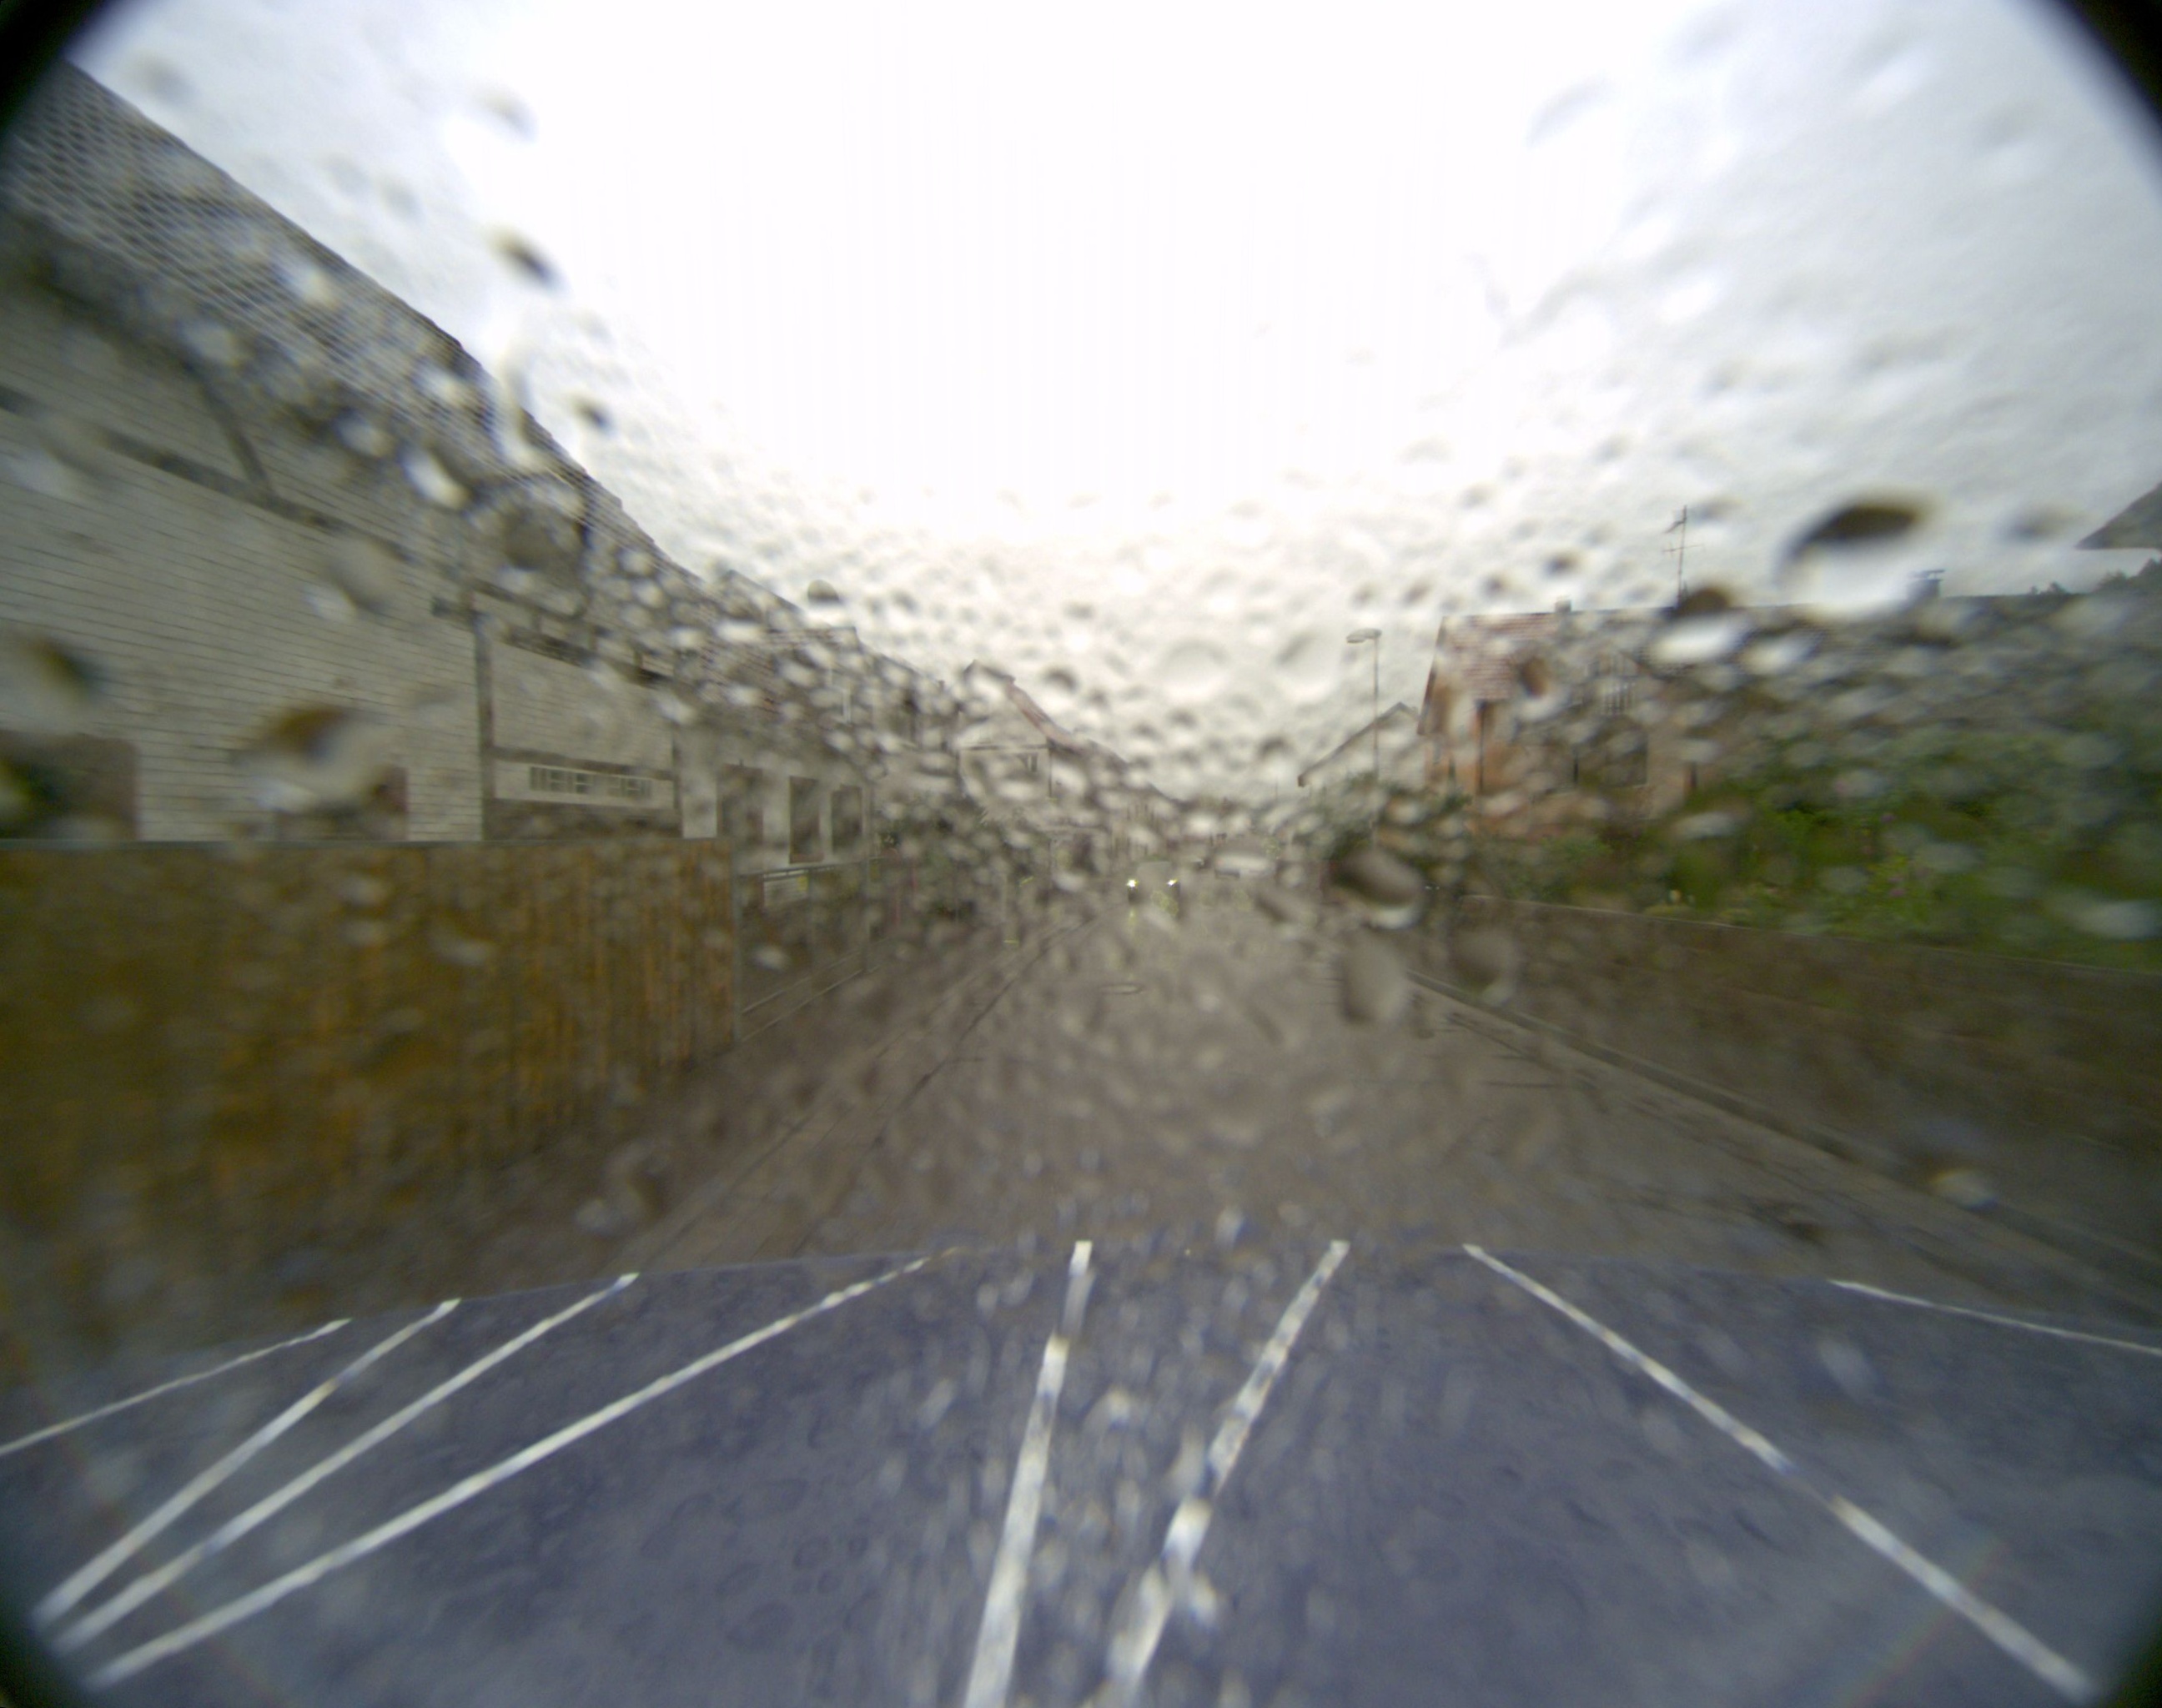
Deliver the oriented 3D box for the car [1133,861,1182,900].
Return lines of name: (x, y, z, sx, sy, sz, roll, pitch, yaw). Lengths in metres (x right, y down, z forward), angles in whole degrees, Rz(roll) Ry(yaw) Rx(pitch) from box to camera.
car: (2.845, 0.947, 28.158, 1.666, 1.290, 3.519, -1, 0, 6)

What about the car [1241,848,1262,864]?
car: (19.044, 0.204, 84.877, 1.813, 1.587, 4.189, 2, 2, 18)

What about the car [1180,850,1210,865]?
car: (12.494, 0.359, 83.772, 1.892, 1.566, 3.886, -2, 1, -14)

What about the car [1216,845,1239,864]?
car: (13.748, 0.023, 71.174, 1.837, 1.664, 5.201, 1, 2, 13)

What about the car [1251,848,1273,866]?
car: (18.381, 0.296, 76.967, 1.813, 1.674, 4.189, 2, 2, 18)

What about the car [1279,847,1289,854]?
car: (43.254, -0.755, 161.933, 1.858, 1.497, 4.166, 1, 2, 17)

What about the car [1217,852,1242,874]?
car: (10.964, 0.640, 56.123, 1.702, 1.538, 3.854, 2, 1, 11)
